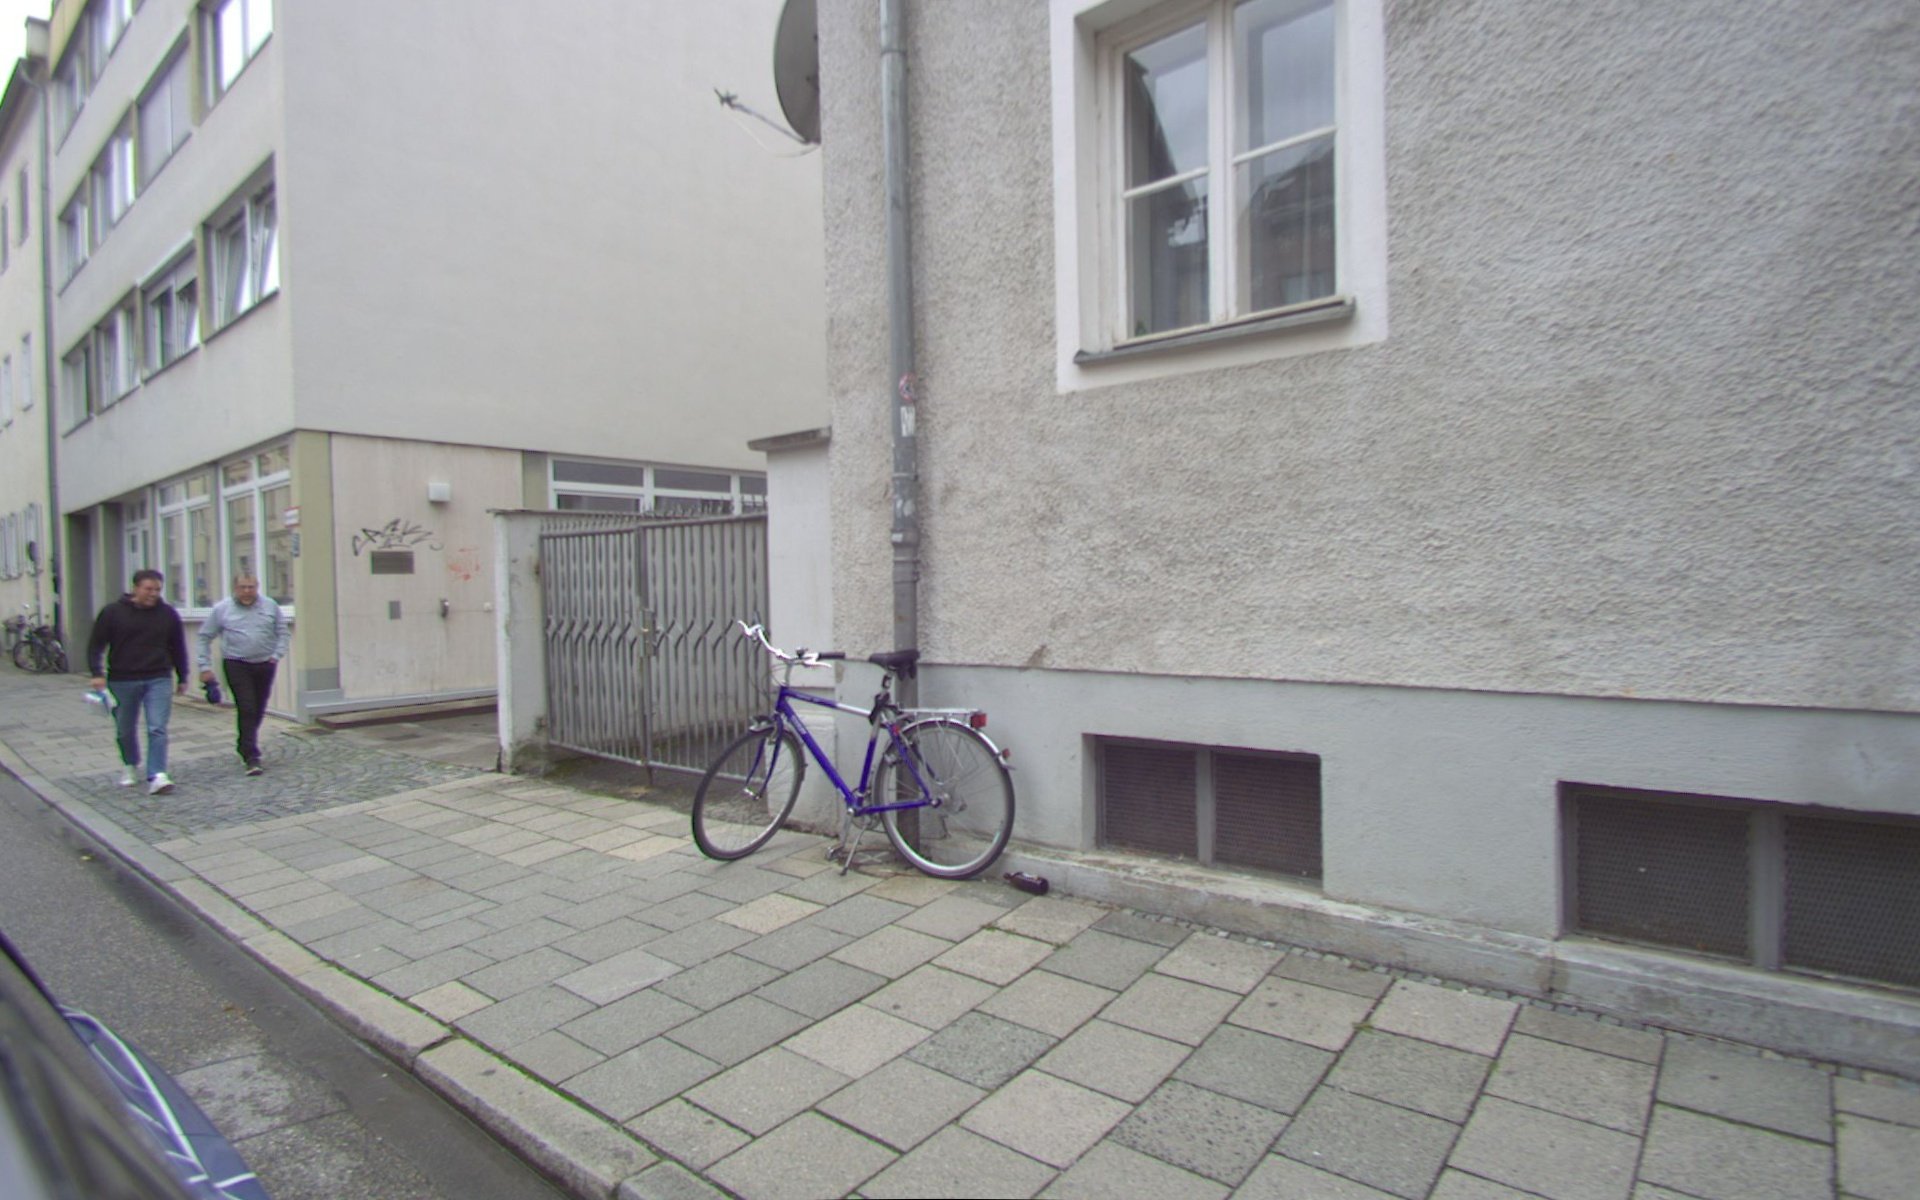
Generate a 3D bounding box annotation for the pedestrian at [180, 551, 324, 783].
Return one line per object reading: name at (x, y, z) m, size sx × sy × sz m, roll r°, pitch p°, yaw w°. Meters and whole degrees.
pedestrian at (-5.940, 0.517, 8.490) m, size 0.916 × 1.810 × 0.711 m, roll 0°, pitch 3°, yaw 41°

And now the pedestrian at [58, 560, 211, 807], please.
pedestrian at (-6.438, 0.599, 7.892) m, size 0.837 × 1.778 × 0.711 m, roll 0°, pitch 3°, yaw 41°

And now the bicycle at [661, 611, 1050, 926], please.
bicycle at (-0.475, 0.671, 4.594) m, size 1.653 × 1.226 × 0.639 m, roll 0°, pitch 0°, yaw 22°

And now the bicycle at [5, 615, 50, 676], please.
bicycle at (-19.274, 0.925, 20.907) m, size 1.605 × 1.168 × 0.453 m, roll 0°, pitch 3°, yaw 42°

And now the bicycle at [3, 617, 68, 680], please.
bicycle at (-18.027, 0.921, 19.726) m, size 1.717 × 1.168 × 0.557 m, roll 0°, pitch 1°, yaw 35°
